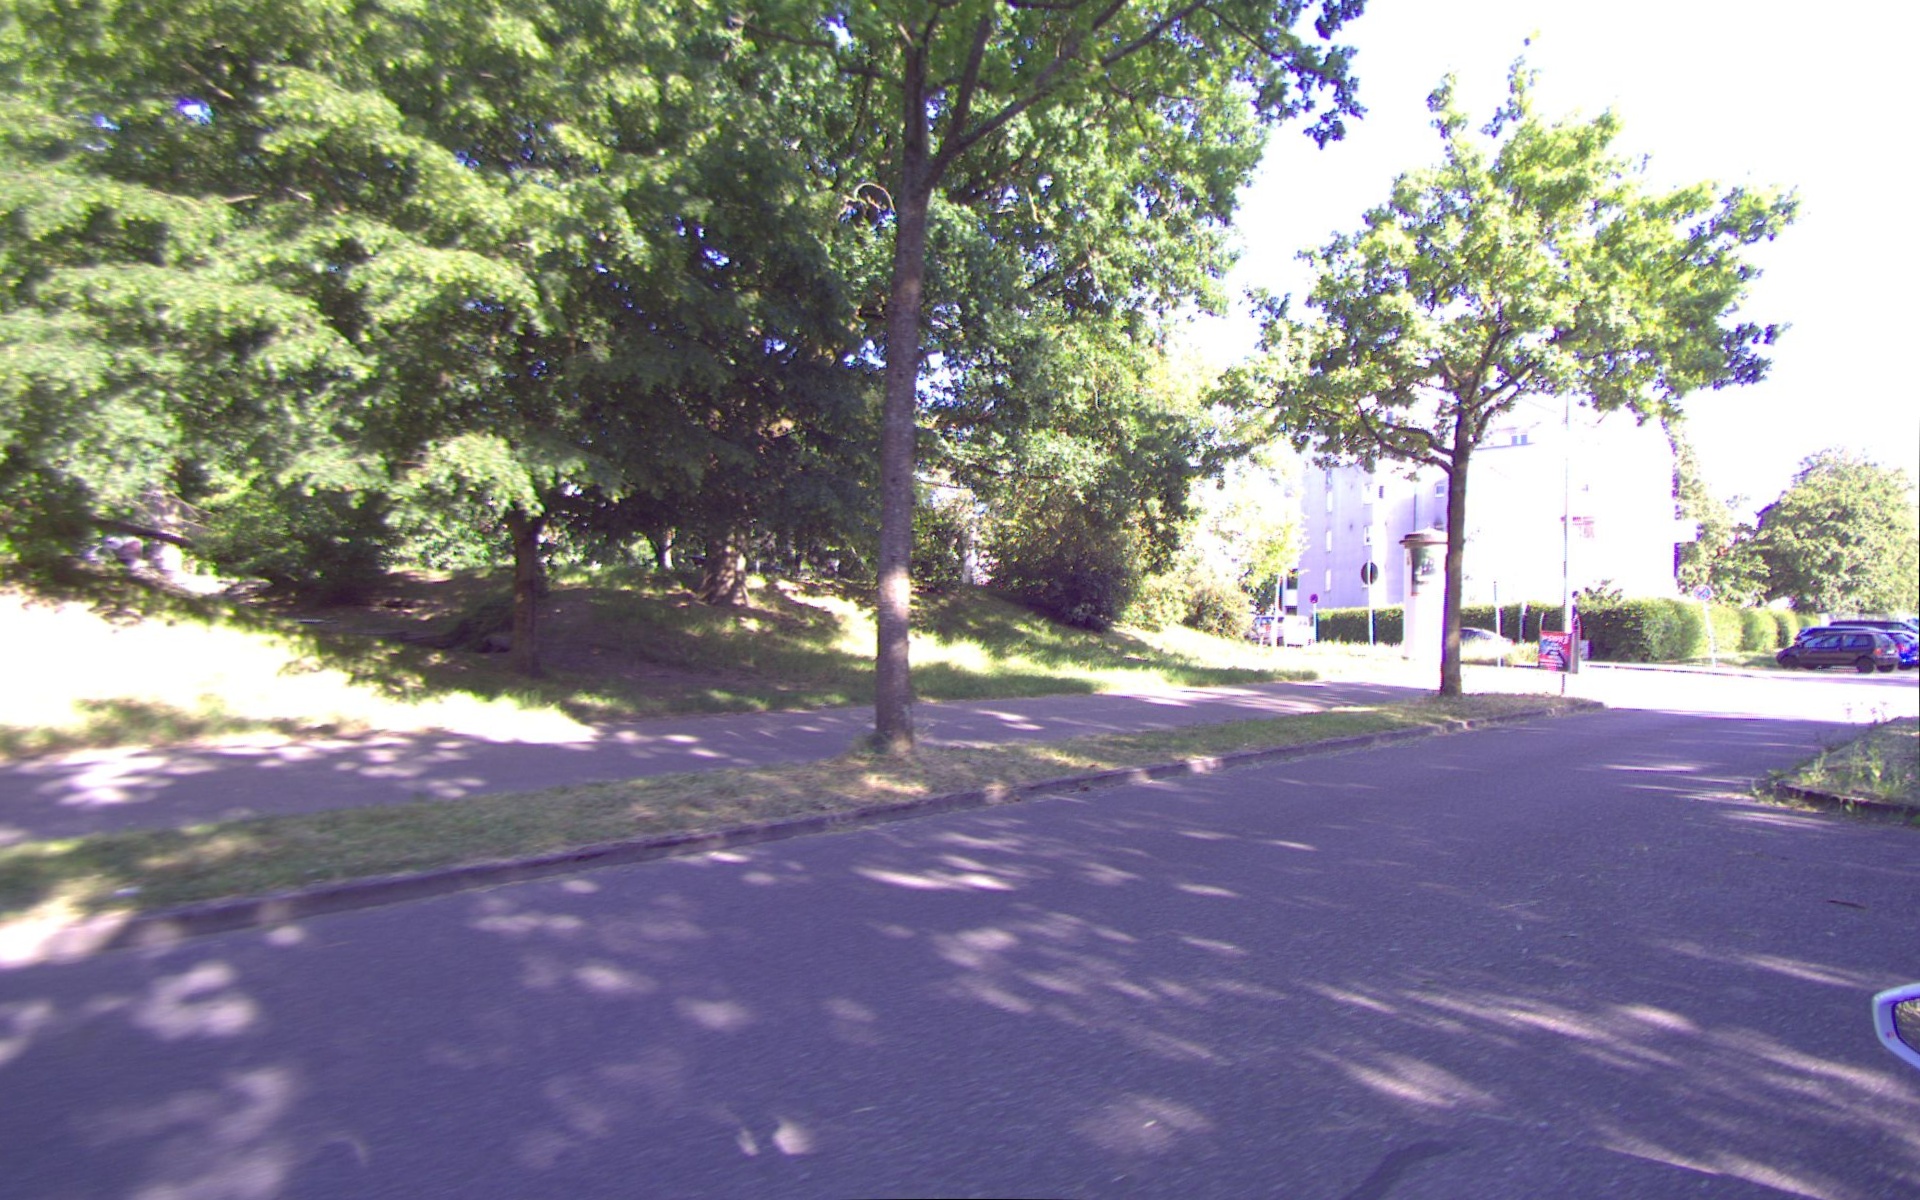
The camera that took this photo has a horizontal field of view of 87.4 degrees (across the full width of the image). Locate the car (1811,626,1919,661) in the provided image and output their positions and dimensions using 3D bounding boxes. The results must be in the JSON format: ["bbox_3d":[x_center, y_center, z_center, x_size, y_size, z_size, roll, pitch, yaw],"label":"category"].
[{"bbox_3d":[40.466,1.913,44.456,1.608,1.474,4.104,2,-2,-43],"label":"car"}]

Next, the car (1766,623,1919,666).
[{"bbox_3d":[37.195,1.803,42.180,1.767,1.676,4.959,1,-1,-35],"label":"car"}]

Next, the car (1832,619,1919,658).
[{"bbox_3d":[45.100,1.823,48.314,1.829,1.794,4.491,1,-1,-36],"label":"car"}]

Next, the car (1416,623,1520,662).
[{"bbox_3d":[23.021,1.890,45.698,1.855,1.665,4.058,2,-1,-20],"label":"car"}]

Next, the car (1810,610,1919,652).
[{"bbox_3d":[50.852,1.692,55.115,2.394,2.175,6.197,1,-1,-43],"label":"car"}]

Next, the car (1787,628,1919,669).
[{"bbox_3d":[34.734,1.841,39.055,1.630,1.516,3.665,1,-1,-28],"label":"car"}]

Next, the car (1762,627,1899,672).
[{"bbox_3d":[32.564,1.816,37.677,1.680,1.486,3.512,0,0,-24],"label":"car"}]

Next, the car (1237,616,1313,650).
[{"bbox_3d":[19.105,1.977,61.205,1.968,1.937,4.935,1,-1,-18],"label":"car"}]
